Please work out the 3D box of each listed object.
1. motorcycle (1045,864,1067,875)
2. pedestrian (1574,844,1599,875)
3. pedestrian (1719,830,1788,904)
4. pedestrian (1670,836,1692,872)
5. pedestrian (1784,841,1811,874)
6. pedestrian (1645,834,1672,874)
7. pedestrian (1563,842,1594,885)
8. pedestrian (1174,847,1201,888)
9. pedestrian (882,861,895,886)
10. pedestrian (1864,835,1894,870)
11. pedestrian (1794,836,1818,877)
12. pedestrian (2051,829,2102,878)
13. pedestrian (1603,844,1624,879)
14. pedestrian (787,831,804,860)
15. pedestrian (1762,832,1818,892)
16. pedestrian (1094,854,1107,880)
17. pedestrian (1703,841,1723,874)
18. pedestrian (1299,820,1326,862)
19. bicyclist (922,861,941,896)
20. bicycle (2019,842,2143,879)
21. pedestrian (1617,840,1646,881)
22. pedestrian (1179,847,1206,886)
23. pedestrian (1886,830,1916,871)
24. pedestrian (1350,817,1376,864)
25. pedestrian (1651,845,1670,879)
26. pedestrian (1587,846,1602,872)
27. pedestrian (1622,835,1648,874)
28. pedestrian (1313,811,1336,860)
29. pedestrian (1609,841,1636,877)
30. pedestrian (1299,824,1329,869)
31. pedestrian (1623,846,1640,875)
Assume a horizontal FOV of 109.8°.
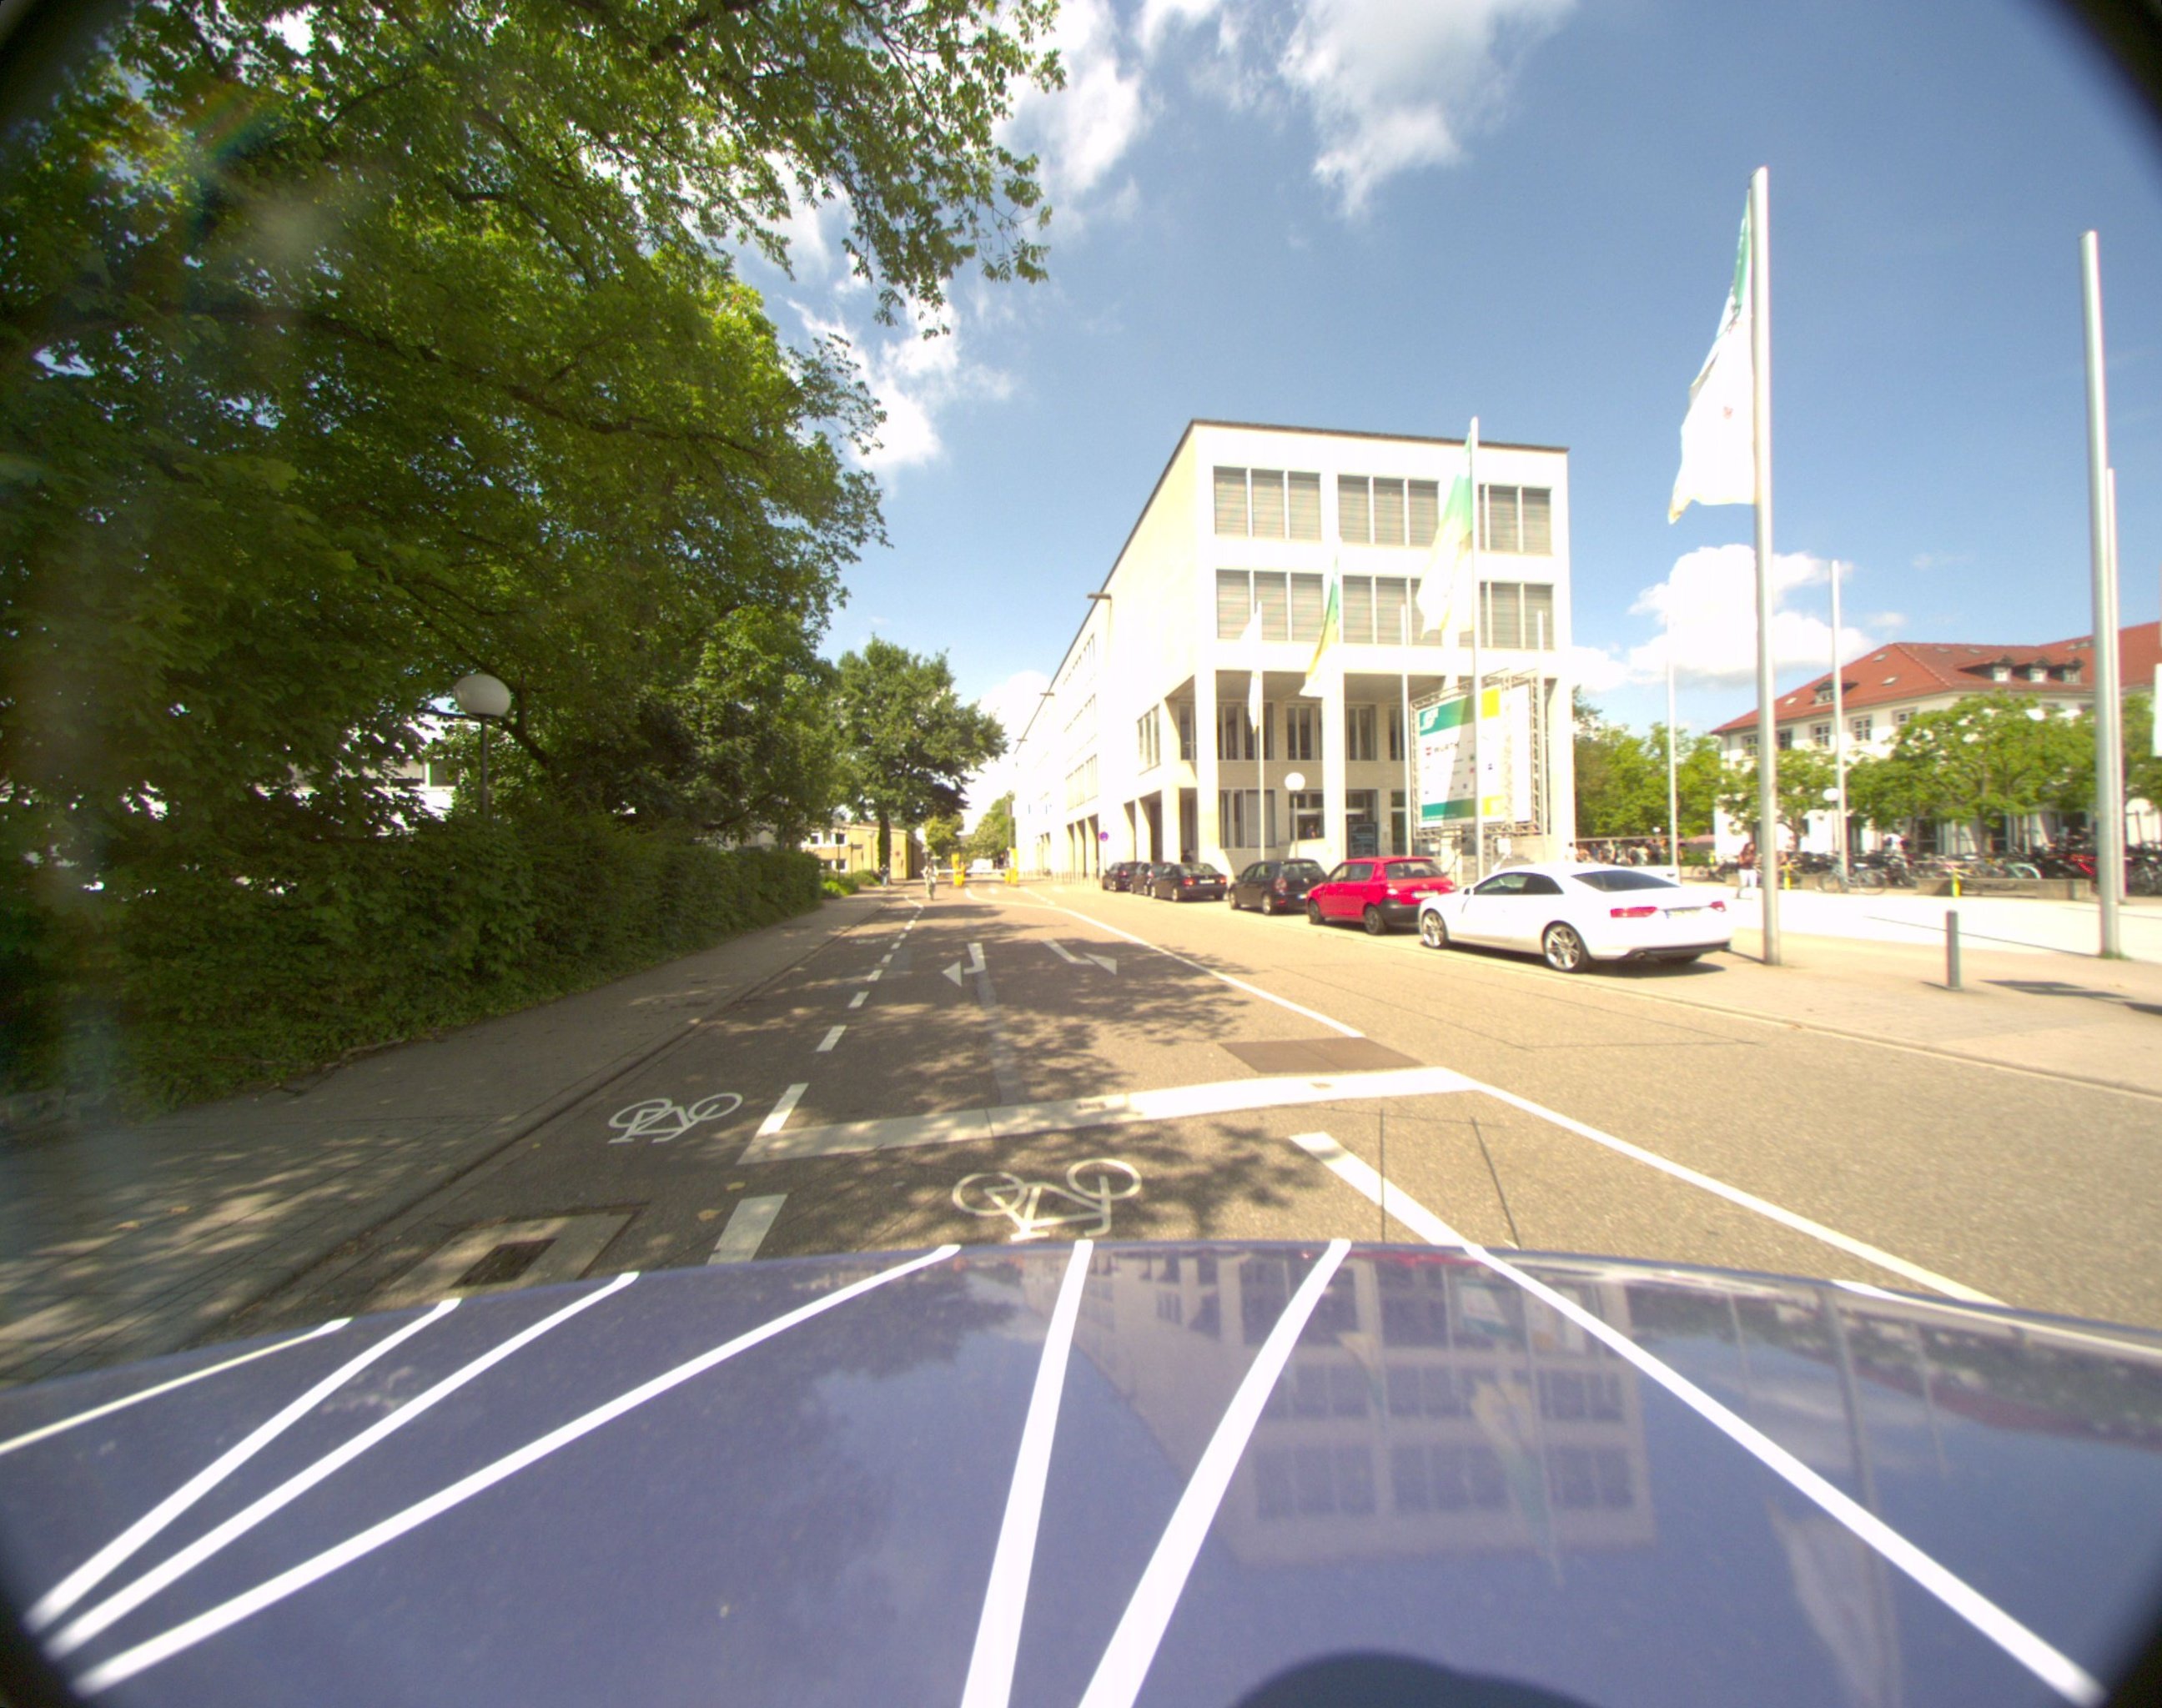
[{"bbox_3d":[-2.632,1.636,79.642,2.174,1.131,0.774,-1,0,-19],"label":"motorcycle"},{"bbox_3d":[26.147,0.279,39.307,0.733,1.604,0.736,-2,0,-6],"label":"pedestrian"},{"bbox_3d":[18.844,0.360,21.301,1.060,2.002,0.987,-1,0,-13],"label":"pedestrian"},{"bbox_3d":[30.558,0.000,38.690,0.701,1.826,0.759,-2,1,-44],"label":"pedestrian"},{"bbox_3d":[43.904,0.212,46.559,0.889,2.002,0.737,-2,0,4],"label":"pedestrian"},{"bbox_3d":[29.390,0.017,38.695,0.761,2.002,0.736,-2,0,-4],"label":"pedestrian"},{"bbox_3d":[20.645,0.391,31.564,0.739,1.746,0.758,-1,0,-19],"label":"pedestrian"},{"bbox_3d":[5.388,0.687,38.450,0.987,2.002,1.163,-1,0,-13],"label":"pedestrian"},{"bbox_3d":[-12.847,1.283,50.778,0.742,1.664,1.255,-1,0,-12],"label":"pedestrian"},{"bbox_3d":[45.477,-0.078,43.288,0.924,2.002,0.721,-1,0,-3],"label":"pedestrian"},{"bbox_3d":[36.026,0.133,37.753,0.738,2.002,0.759,-2,1,-42],"label":"pedestrian"},{"bbox_3d":[45.318,-0.019,34.605,1.024,2.187,1.040,-1,0,-11],"label":"pedestrian"},{"bbox_3d":[30.556,0.433,43.637,0.888,1.973,0.841,-2,1,31],"label":"pedestrian"},{"bbox_3d":[-20.565,-0.608,54.807,0.930,2.002,0.949,-1,0,-6],"label":"pedestrian"},{"bbox_3d":[23.528,0.260,25.218,0.988,1.929,0.944,-1,0,-13],"label":"pedestrian"},{"bbox_3d":[1.515,0.987,59.158,0.859,2.002,0.880,-2,0,-7],"label":"pedestrian"},{"bbox_3d":[41.599,0.222,50.021,0.738,2.131,0.888,-2,1,-42],"label":"pedestrian"},{"bbox_3d":[11.284,-0.610,37.060,0.746,2.002,0.979,-2,1,-30],"label":"pedestrian"},{"bbox_3d":[-6.392,1.026,32.478,0.781,1.478,0.695,-1,0,-11],"label":"bicyclist"},{"bbox_3d":[40.744,0.237,31.059,1.147,1.403,2.951,-2,0,-1],"label":"bicycle"},{"bbox_3d":[23.394,0.273,32.292,0.739,1.746,0.758,-1,0,-33],"label":"pedestrian"},{"bbox_3d":[5.900,0.662,40.234,0.987,2.002,1.163,-1,0,-13],"label":"pedestrian"},{"bbox_3d":[45.383,-0.187,42.061,0.973,2.187,0.962,-1,0,-32],"label":"pedestrian"},{"bbox_3d":[13.101,-0.626,35.296,0.706,2.133,0.803,-2,1,-31],"label":"pedestrian"},{"bbox_3d":[35.144,0.485,46.066,0.738,2.002,0.759,-2,1,-42],"label":"pedestrian"},{"bbox_3d":[38.453,0.389,56.910,0.815,1.922,0.738,-1,1,43],"label":"pedestrian"},{"bbox_3d":[28.682,0.039,39.336,0.761,2.002,0.736,-2,0,-4],"label":"pedestrian"},{"bbox_3d":[12.110,-0.896,37.742,0.761,2.408,0.736,-1,0,-36],"label":"pedestrian"},{"bbox_3d":[27.430,0.251,38.501,0.760,1.763,0.737,-1,0,-10],"label":"pedestrian"},{"bbox_3d":[10.545,-0.336,34.409,0.981,2.002,0.909,-2,0,-9],"label":"pedestrian"},{"bbox_3d":[36.732,0.438,50.709,0.738,1.874,0.708,-2,1,-42],"label":"pedestrian"}]
